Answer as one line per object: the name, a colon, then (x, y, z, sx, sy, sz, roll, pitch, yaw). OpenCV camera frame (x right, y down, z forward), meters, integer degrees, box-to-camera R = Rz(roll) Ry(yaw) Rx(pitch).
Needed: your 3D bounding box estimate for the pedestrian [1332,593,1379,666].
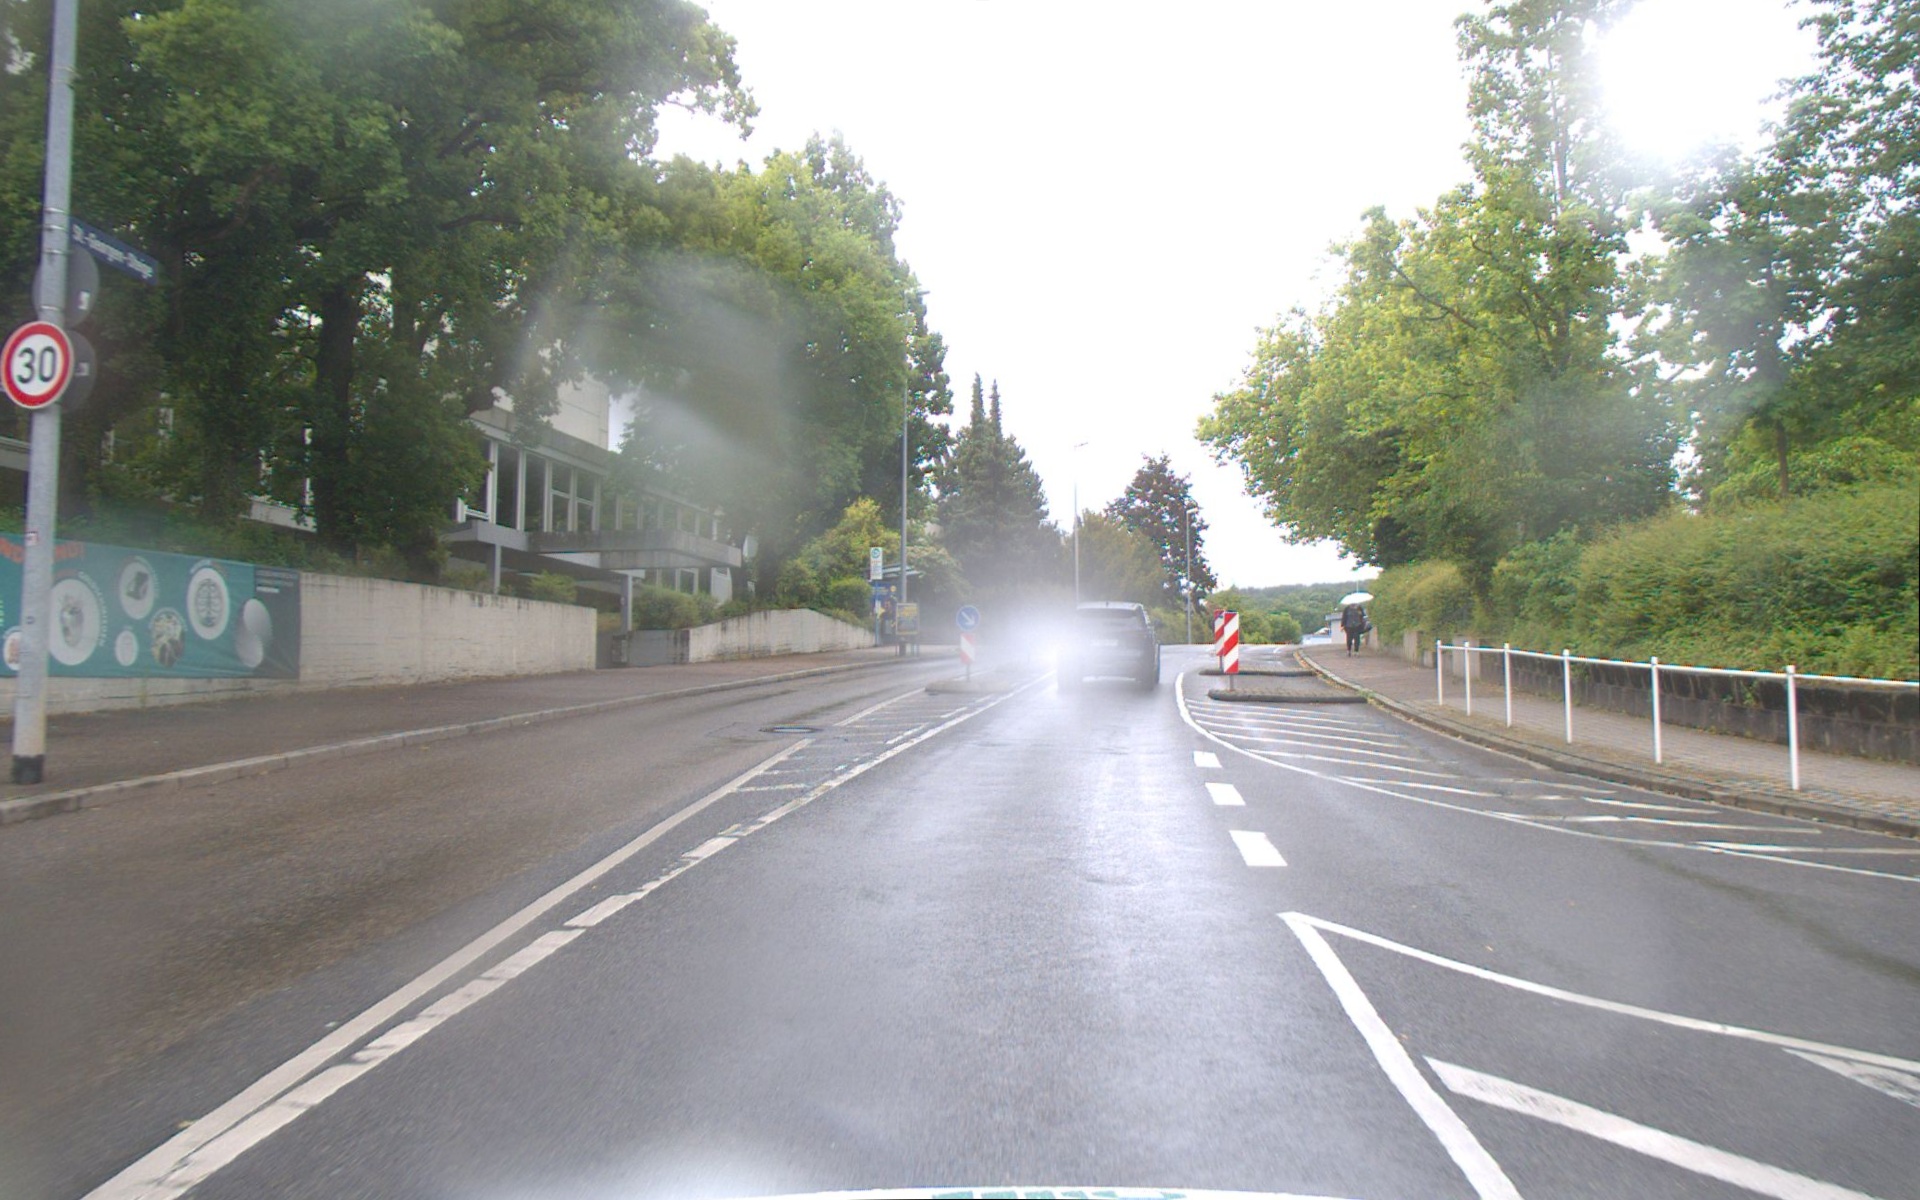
pedestrian: (10.654, 0.809, 44.610, 1.029, 1.927, 1.133, 0, -3, 3)

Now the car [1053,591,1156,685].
car: (2.846, 0.674, 31.919, 1.752, 1.631, 4.257, -1, 1, 8)
